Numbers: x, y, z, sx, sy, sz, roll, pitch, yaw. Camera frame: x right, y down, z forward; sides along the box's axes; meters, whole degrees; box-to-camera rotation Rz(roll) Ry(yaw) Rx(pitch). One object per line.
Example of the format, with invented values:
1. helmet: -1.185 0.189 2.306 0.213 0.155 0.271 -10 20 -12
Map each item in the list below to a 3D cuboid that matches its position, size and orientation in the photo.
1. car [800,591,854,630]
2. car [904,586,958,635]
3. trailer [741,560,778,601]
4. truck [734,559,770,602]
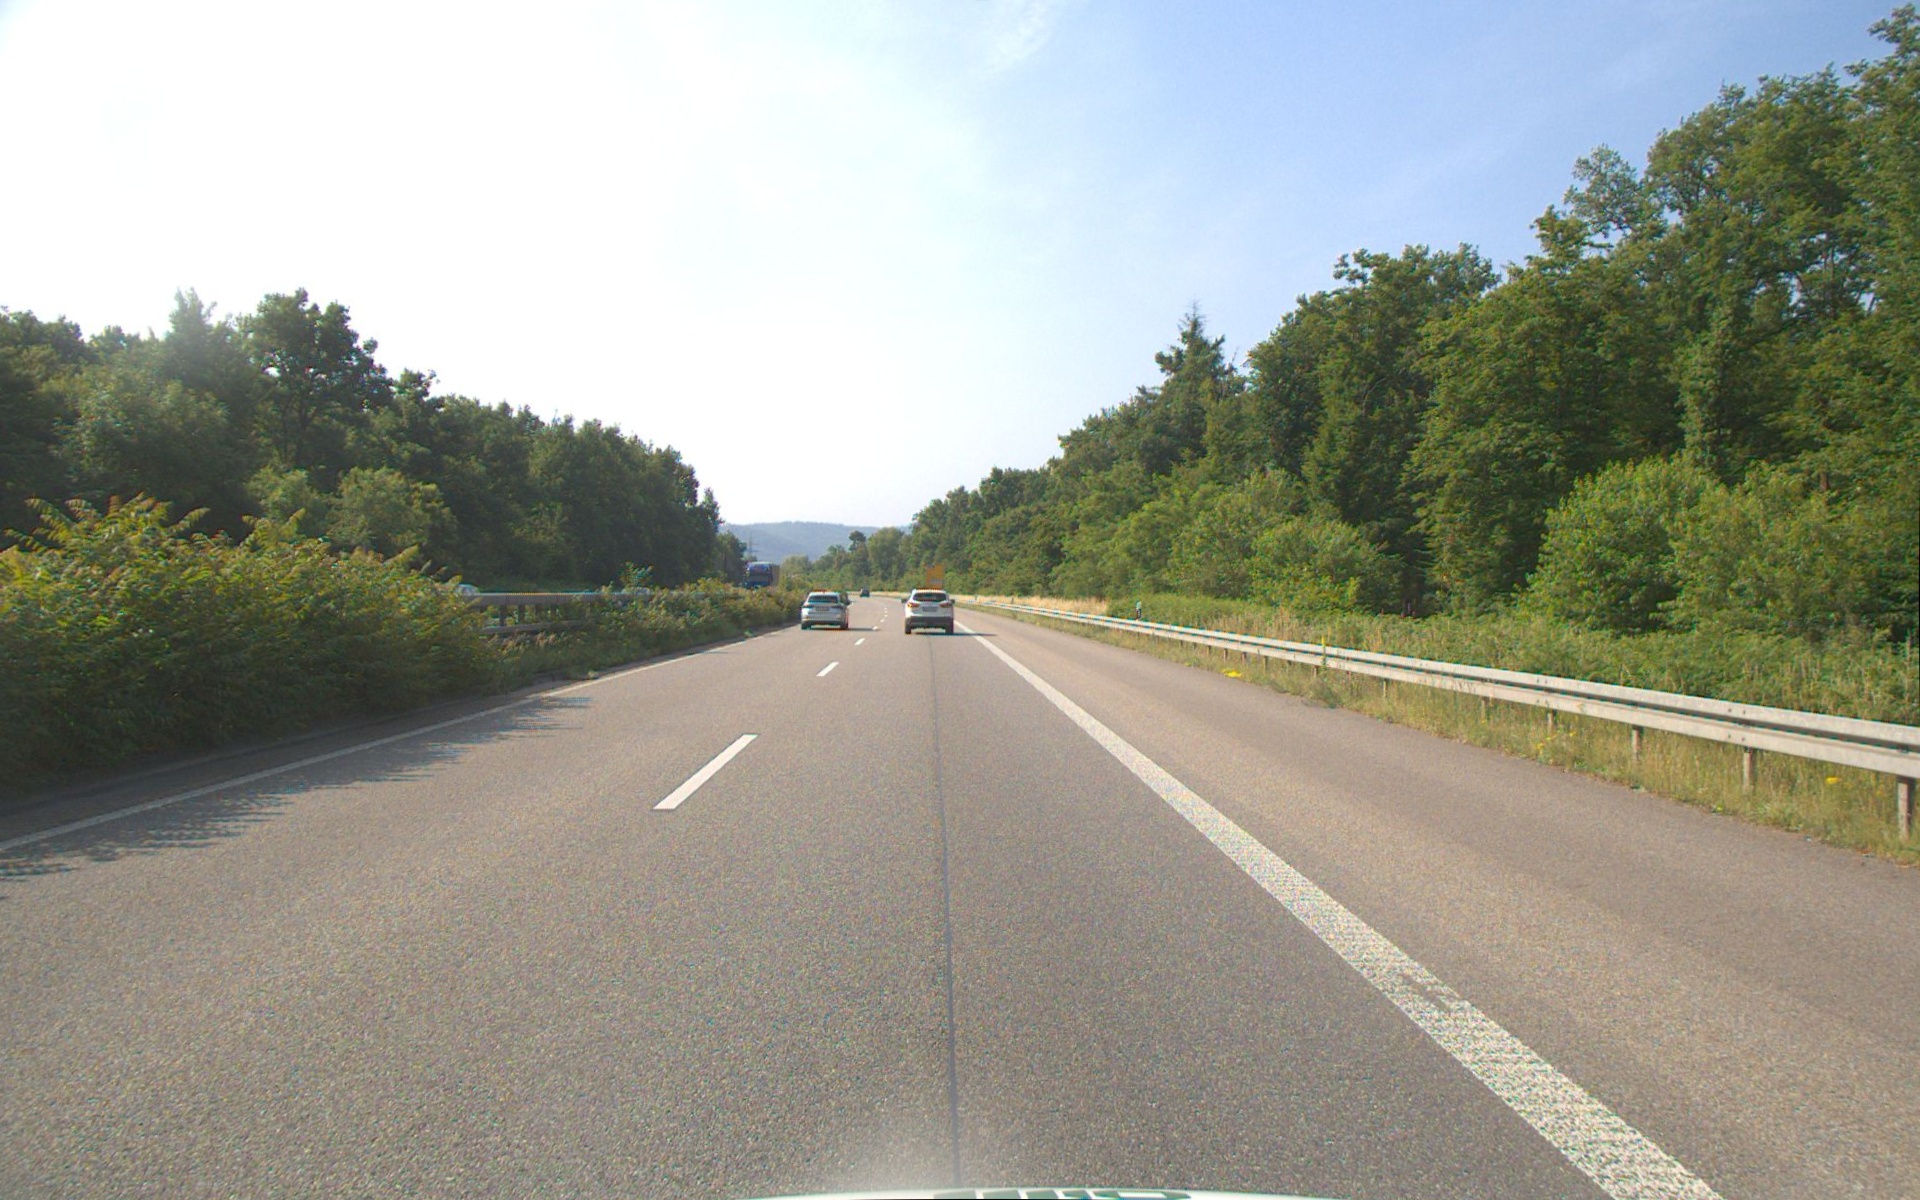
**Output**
1. car: -5.266 0.386 66.158 1.755 1.463 5.278 0 1 0
2. car: -1.102 0.366 60.762 1.836 1.613 3.999 3 1 -2
3. trailer: -20.756 -1.996 171.848 2.774 4.068 11.429 1 0 -2
4. truck: -20.522 -1.923 163.871 2.728 4.068 8.413 1 0 -2
